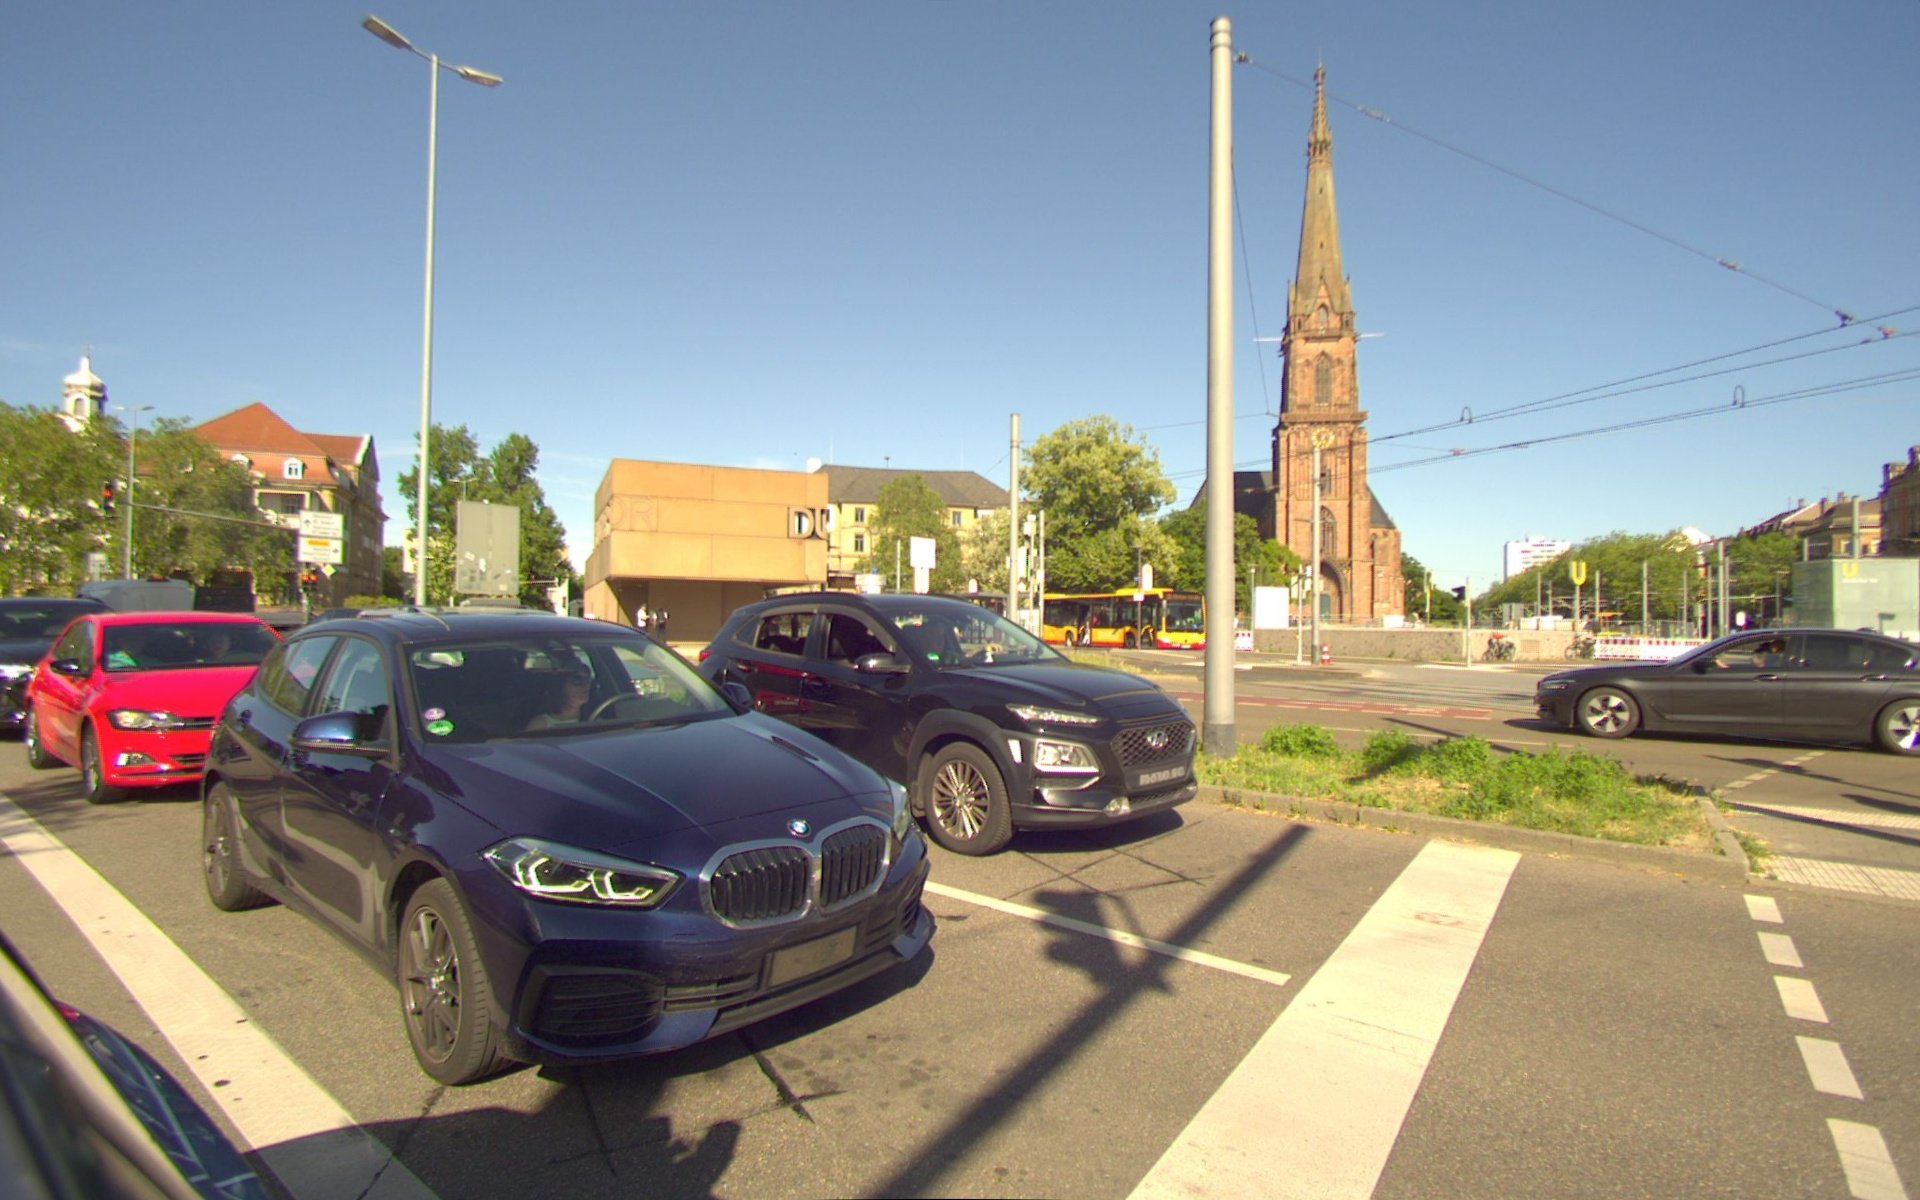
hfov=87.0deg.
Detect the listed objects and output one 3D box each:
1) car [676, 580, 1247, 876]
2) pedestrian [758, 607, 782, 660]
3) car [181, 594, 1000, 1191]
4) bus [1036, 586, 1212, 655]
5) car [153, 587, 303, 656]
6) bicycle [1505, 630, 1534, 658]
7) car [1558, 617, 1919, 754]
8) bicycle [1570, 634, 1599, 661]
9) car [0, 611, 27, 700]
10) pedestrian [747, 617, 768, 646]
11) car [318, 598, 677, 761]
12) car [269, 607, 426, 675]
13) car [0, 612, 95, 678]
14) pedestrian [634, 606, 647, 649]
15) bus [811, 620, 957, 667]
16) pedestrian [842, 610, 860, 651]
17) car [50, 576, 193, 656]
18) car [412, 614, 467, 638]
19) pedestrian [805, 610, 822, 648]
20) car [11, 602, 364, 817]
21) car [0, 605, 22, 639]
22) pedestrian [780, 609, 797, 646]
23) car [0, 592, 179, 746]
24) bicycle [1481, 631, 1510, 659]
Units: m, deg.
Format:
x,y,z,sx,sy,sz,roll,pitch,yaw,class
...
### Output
x,y,z,sx,sy,sz,roll,pitch,yaw,class
-0.202,0.688,7.257,4.010,1.529,1.738,-1,-1,43,car
-6.493,1.129,34.519,0.659,1.802,0.645,0,0,4,pedestrian
-1.911,0.720,4.454,4.030,1.456,1.693,0,0,42,car
7.892,1.053,51.344,2.715,3.088,12.201,1,-2,-23,bus
-26.303,0.753,36.300,6.191,2.331,2.095,0,-1,31,car
23.958,1.887,43.346,1.232,1.182,0.471,1,-2,-26,bicycle
10.185,0.984,12.646,4.557,1.512,1.843,-1,-2,35,car
27.722,2.097,44.929,1.232,1.182,0.471,1,-2,-26,bicycle
-17.339,0.923,17.076,3.703,1.429,1.558,-1,0,34,car
-9.253,1.424,46.302,0.635,1.320,0.764,1,-2,-40,pedestrian
-5.367,0.771,11.427,4.745,1.484,1.692,-1,0,38,car
-16.227,1.054,26.791,4.057,1.672,1.851,0,-2,31,car
-21.373,0.953,22.497,3.547,1.389,1.741,0,-1,20,car
-13.178,1.129,41.773,0.460,1.789,0.648,1,-1,-21,pedestrian
-2.238,1.219,29.348,4.174,1.251,1.627,0,-2,35,bus
-4.761,1.342,44.255,0.634,1.789,0.470,1,-2,-29,pedestrian
-28.219,0.540,34.011,5.399,2.527,1.979,0,-2,31,car
-37.454,1.875,72.885,1.516,1.692,3.354,0,-2,23,car
-6.966,1.362,48.079,0.468,1.789,0.638,-1,-2,36,pedestrian
-6.880,0.771,8.877,3.850,1.484,1.653,-1,0,40,car
-46.784,1.048,48.152,3.023,1.617,1.599,2,-2,-39,car
-8.415,1.333,49.614,0.468,1.789,0.638,-1,-2,36,pedestrian
-11.516,0.759,12.542,4.446,1.627,1.836,-1,-2,38,car
22.632,1.887,42.771,1.232,1.182,0.471,1,-2,-26,bicycle
